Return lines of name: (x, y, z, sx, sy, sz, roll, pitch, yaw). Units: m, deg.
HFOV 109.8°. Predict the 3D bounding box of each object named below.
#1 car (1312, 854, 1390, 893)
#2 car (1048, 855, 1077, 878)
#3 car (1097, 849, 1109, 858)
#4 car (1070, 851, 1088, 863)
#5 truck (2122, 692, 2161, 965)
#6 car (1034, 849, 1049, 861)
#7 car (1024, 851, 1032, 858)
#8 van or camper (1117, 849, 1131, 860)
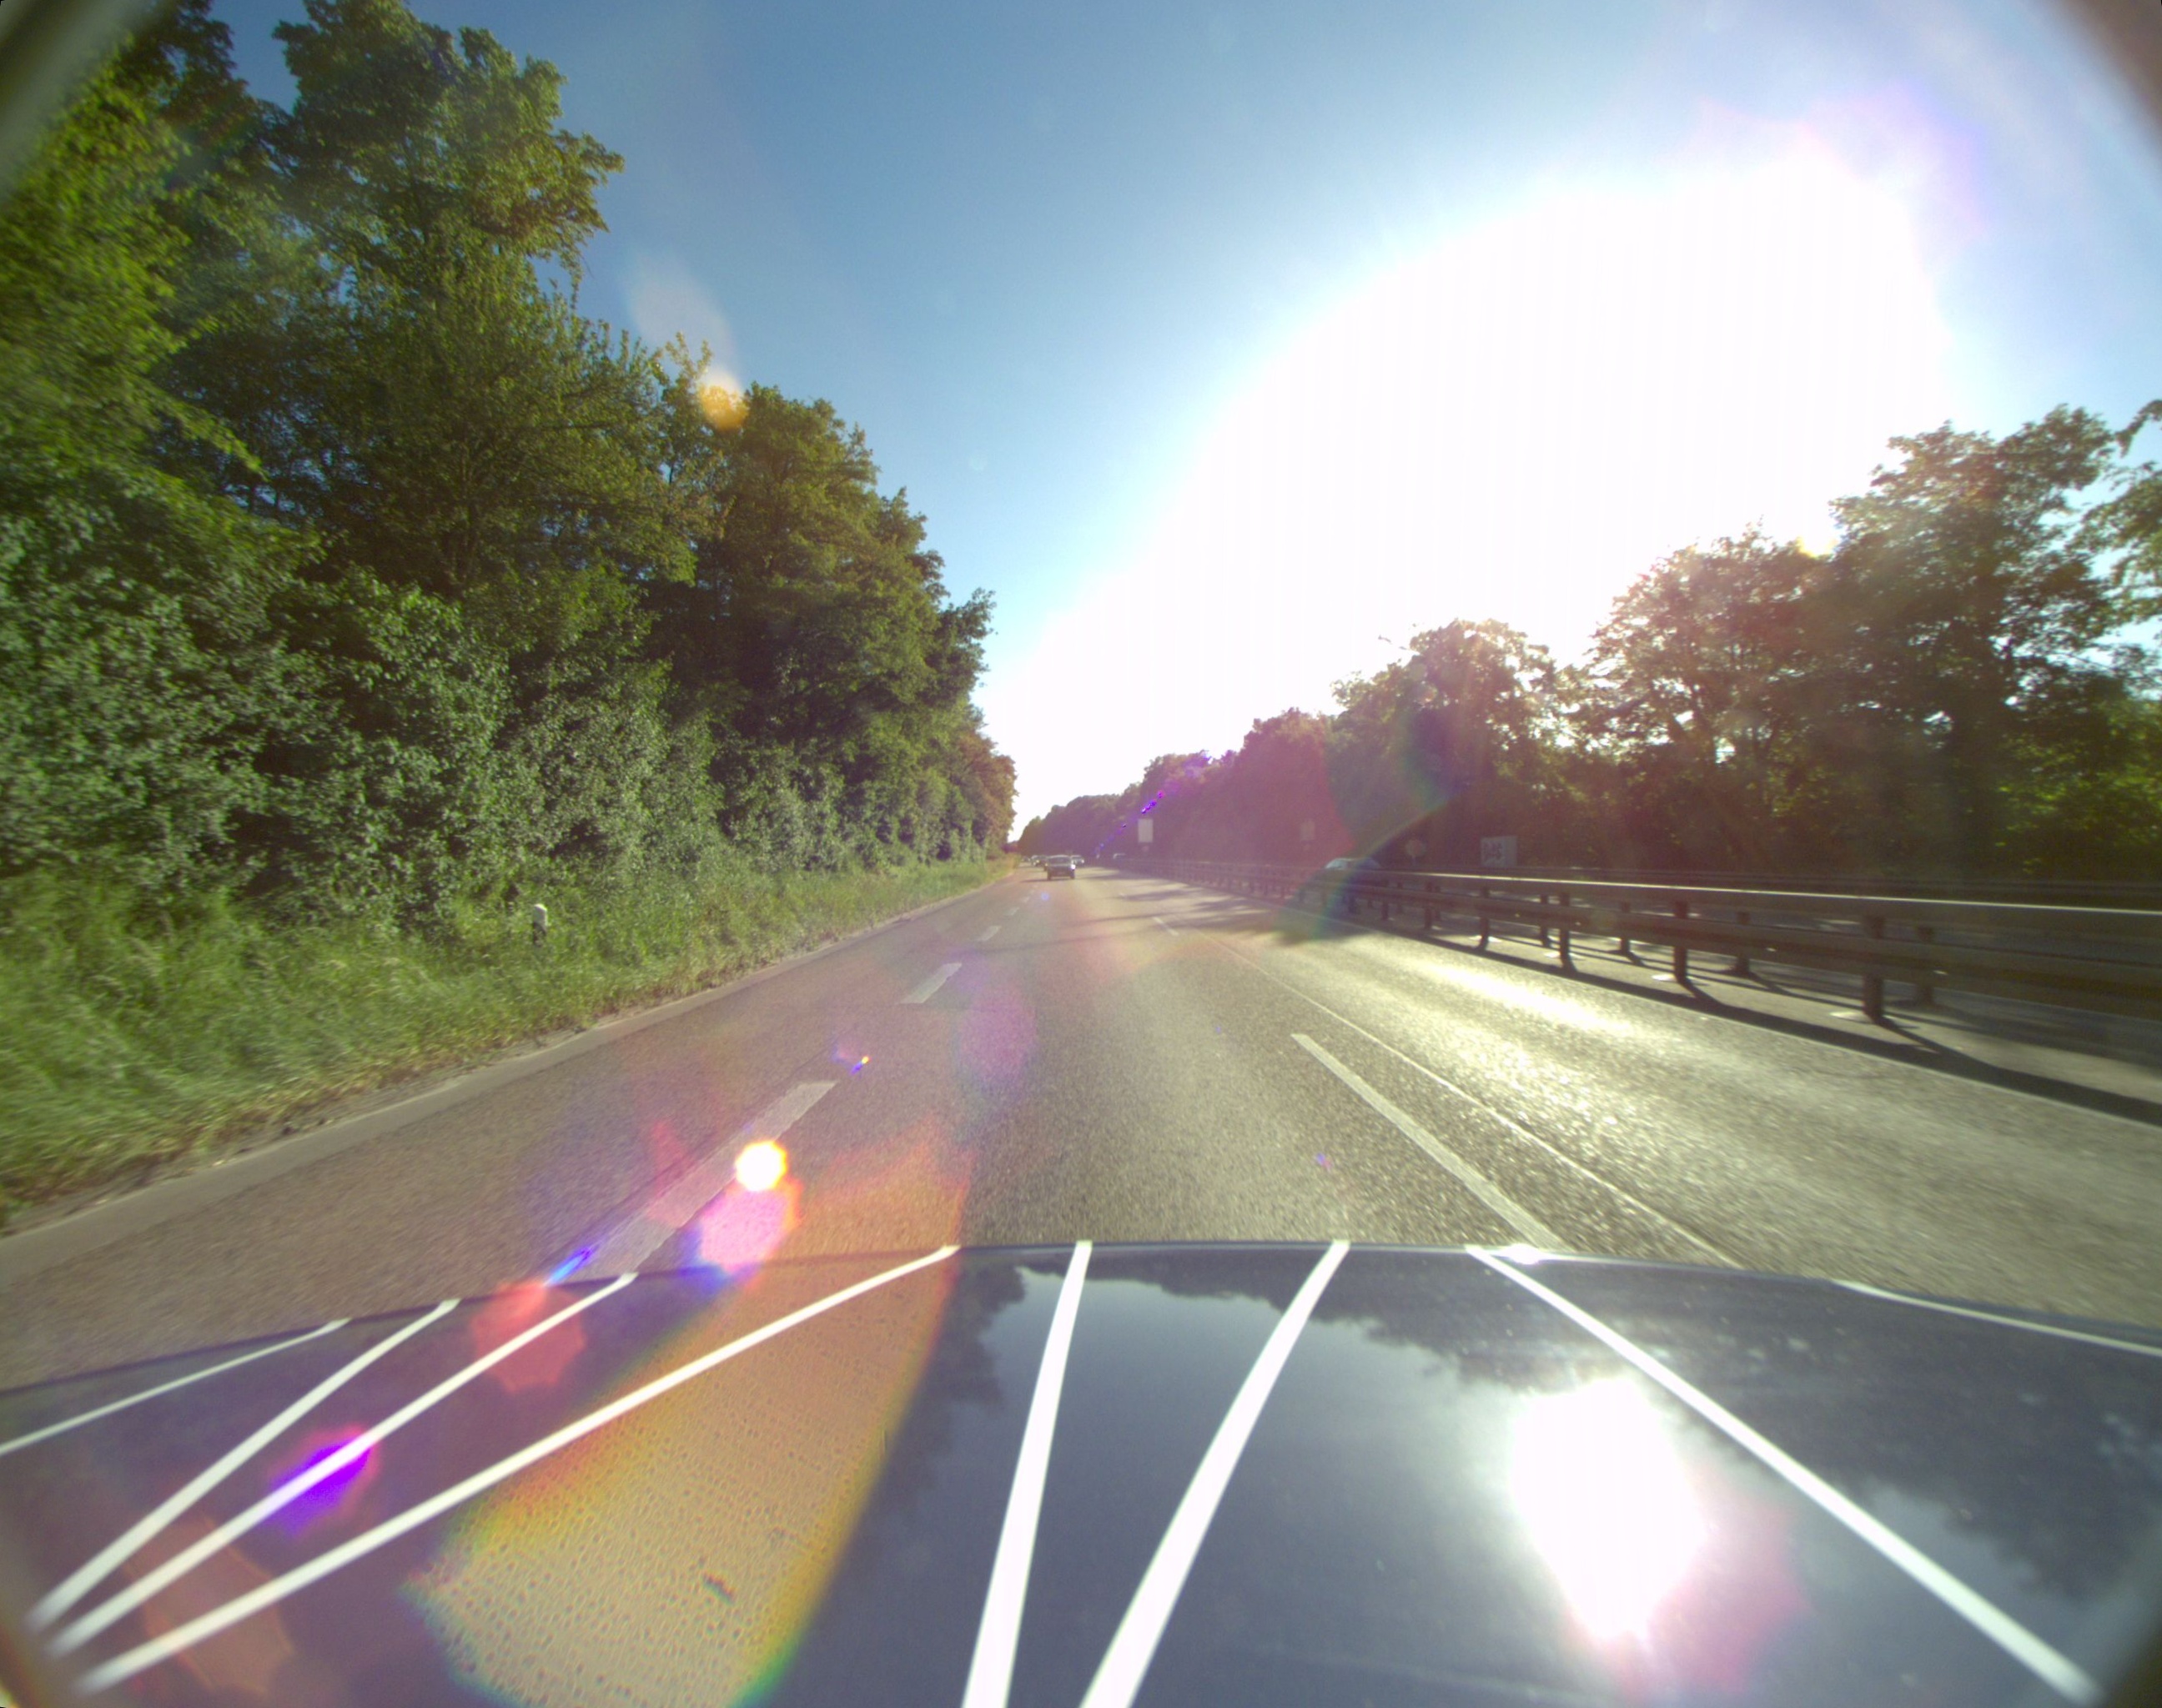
car: (11.005, 0.761, 31.213, 1.670, 1.458, 4.091, -1, 0, -1)
car: (-1.293, 0.786, 50.269, 1.801, 1.453, 4.354, -1, 0, -3)
car: (4.847, -0.165, 168.001, 1.999, 1.868, 4.423, -1, 0, -4)
car: (-0.250, 0.341, 99.163, 1.905, 1.453, 4.353, -1, 1, -6)
truck: (15.710, -0.335, 7.316, 2.988, 3.609, 6.156, -1, 0, 1)
car: (-5.901, 0.200, 113.673, 1.999, 1.761, 3.998, -1, 0, -5)
car: (-12.606, 0.082, 180.671, 1.999, 1.761, 3.998, -1, 0, -5)
van or camper: (6.932, 0.124, 123.055, 1.877, 1.756, 4.285, -1, 0, -2)
